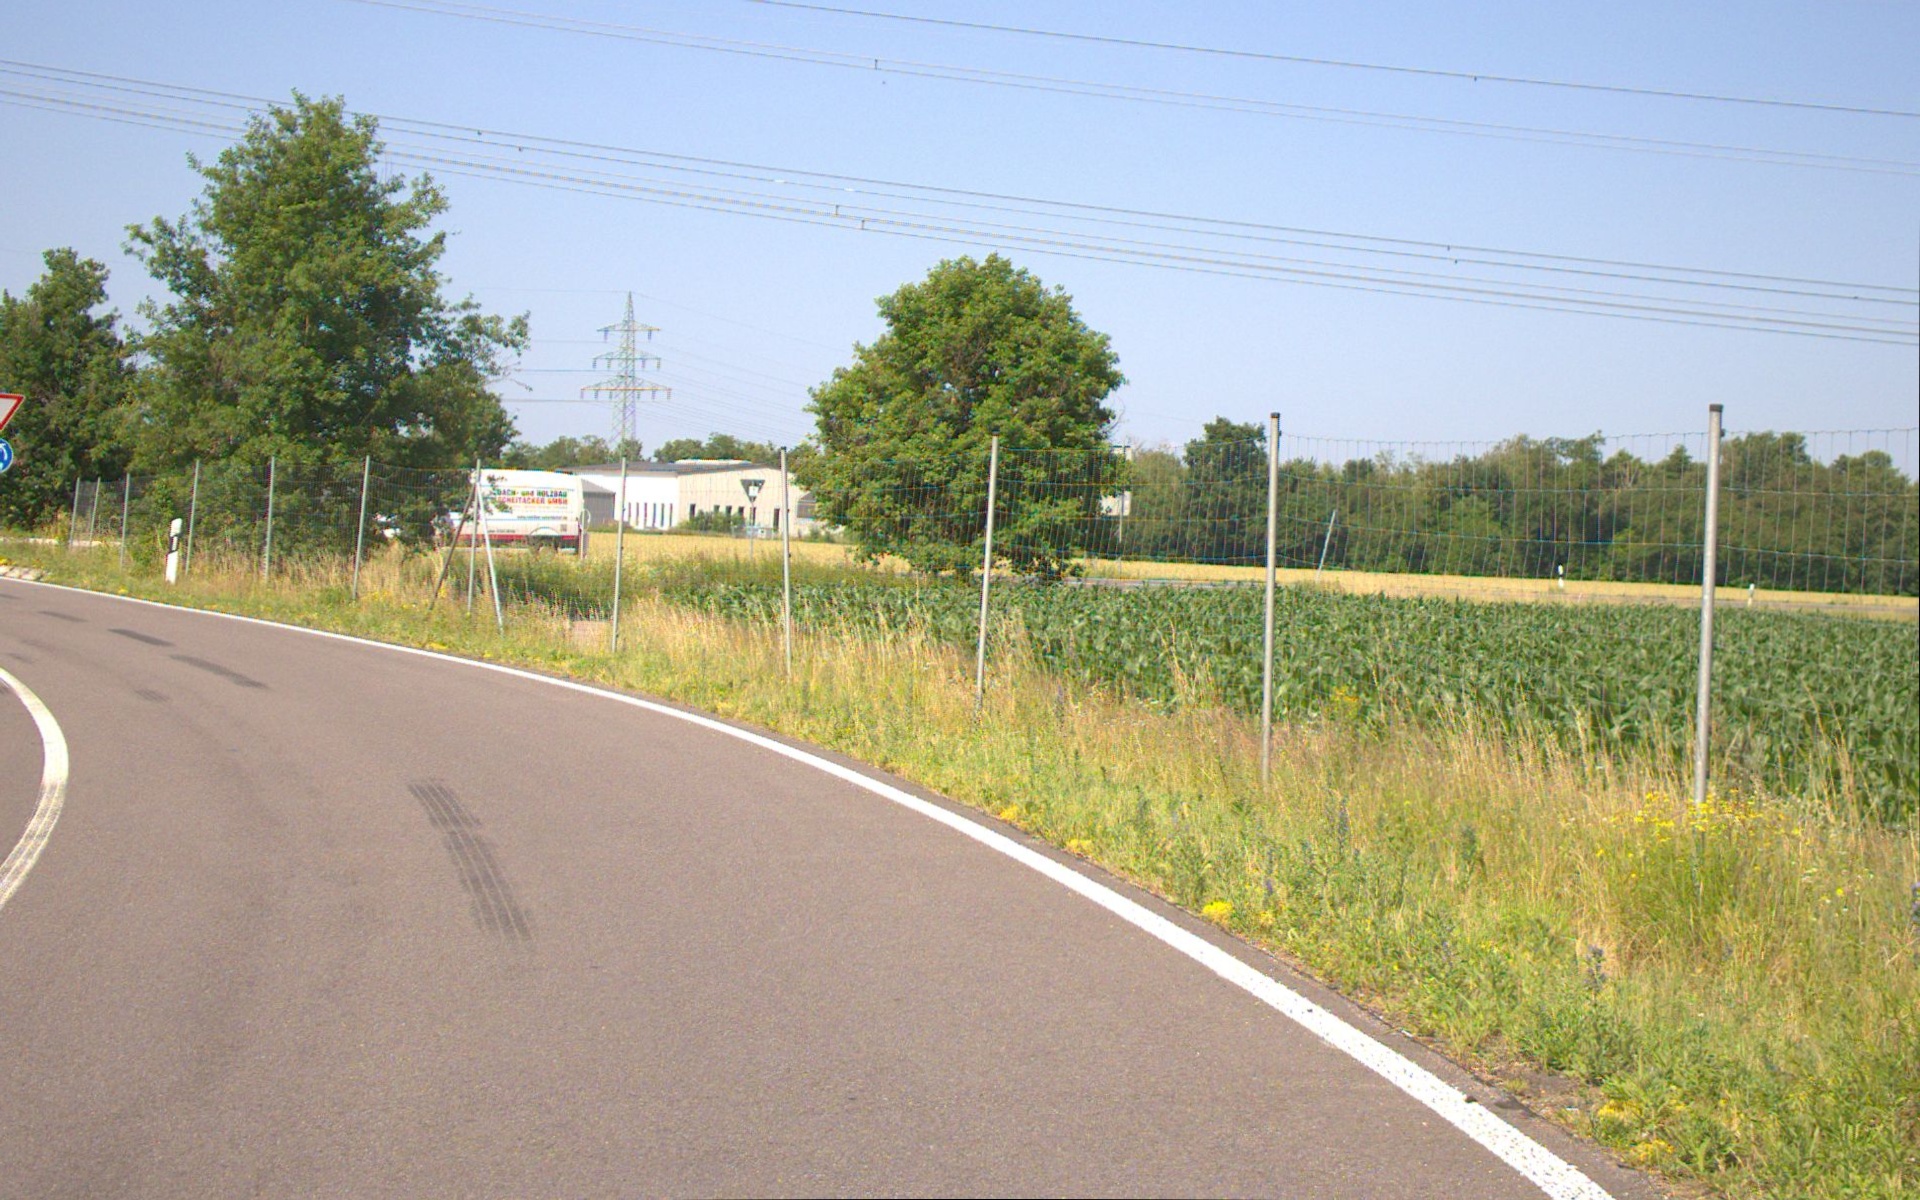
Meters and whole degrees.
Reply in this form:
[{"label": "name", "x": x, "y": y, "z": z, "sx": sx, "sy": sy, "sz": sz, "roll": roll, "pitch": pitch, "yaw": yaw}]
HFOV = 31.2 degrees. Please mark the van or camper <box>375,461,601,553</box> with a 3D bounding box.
[{"label": "van or camper", "x": -12.975, "y": -2.561, "z": 94.597, "sx": 5.749, "sy": 2.259, "sz": 2.000, "roll": 2, "pitch": 1, "yaw": -31}]
